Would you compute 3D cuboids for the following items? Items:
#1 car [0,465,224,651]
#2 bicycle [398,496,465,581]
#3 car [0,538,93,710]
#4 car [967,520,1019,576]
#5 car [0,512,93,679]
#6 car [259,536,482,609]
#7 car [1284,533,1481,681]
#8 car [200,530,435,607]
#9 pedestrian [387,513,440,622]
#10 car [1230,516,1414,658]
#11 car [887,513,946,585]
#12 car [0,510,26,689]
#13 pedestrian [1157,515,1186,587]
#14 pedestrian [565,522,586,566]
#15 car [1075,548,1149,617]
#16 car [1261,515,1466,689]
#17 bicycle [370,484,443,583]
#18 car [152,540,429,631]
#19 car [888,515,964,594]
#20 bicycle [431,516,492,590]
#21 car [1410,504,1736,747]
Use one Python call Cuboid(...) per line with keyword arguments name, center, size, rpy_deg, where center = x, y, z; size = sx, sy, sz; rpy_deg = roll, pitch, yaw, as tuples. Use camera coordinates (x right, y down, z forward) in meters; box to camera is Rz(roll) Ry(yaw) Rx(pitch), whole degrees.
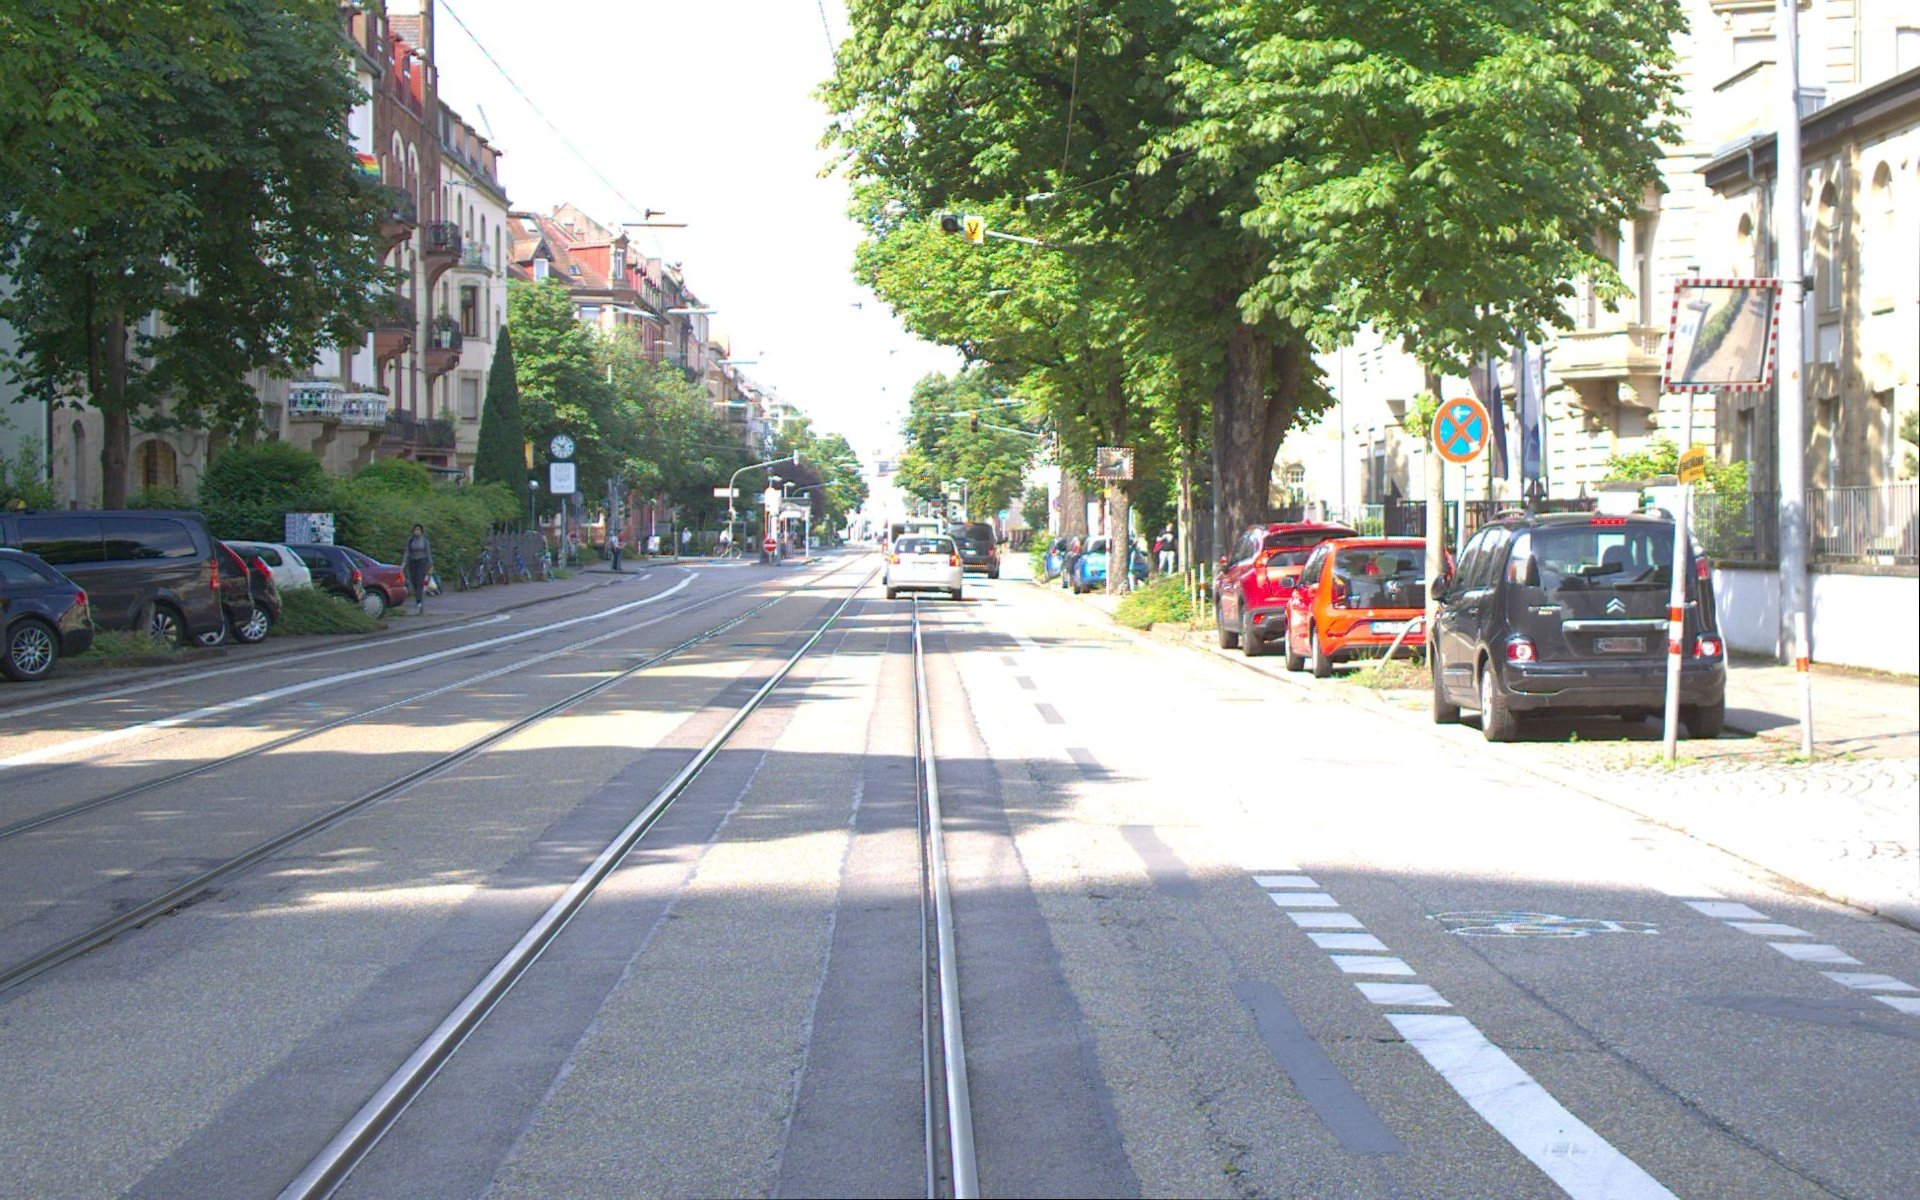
Cuboid(name="car", center=(-11.309, -0.556, 41.717), size=(1.882, 2.074, 4.193), rpy_deg=(5, 0, 44))
Cuboid(name="bicycle", center=(-12.152, -1.403, 79.124), size=(0.938, 1.912, 2.498), rpy_deg=(1, 1, 5))
Cuboid(name="car", center=(-9.554, 0.203, 29.736), size=(1.761, 1.496, 3.628), rpy_deg=(0, 0, 41))
Cuboid(name="car", center=(1.094, -1.754, 115.648), size=(1.621, 1.842, 3.565), rpy_deg=(1, 1, -1))
Cuboid(name="car", center=(-11.043, -0.072, 35.195), size=(1.882, 1.706, 3.749), rpy_deg=(2, 1, 44))
Cuboid(name="car", center=(-11.026, -0.512, 64.375), size=(3.775, 1.302, 1.638), rpy_deg=(1, 1, -39))
Cuboid(name="car", center=(4.495, 0.050, 36.971), size=(1.667, 1.481, 3.279), rpy_deg=(-1, 1, 0))
Cuboid(name="car", center=(-11.447, -0.561, 61.347), size=(3.775, 1.302, 1.638), rpy_deg=(1, 1, -39))
Cuboid(name="pedestrian", center=(-10.322, -0.611, 64.979), size=(0.733, 2.007, 0.824), rpy_deg=(-3, 0, 3))
Cuboid(name="car", center=(4.591, -0.182, 44.122), size=(1.960, 1.700, 4.000), rpy_deg=(1, 1, 1))
Cuboid(name="car", center=(-1.247, -1.452, 98.035), size=(1.621, 1.993, 3.565), rpy_deg=(1, 1, -1))
Cuboid(name="car", center=(-10.920, -0.029, 32.182), size=(1.882, 1.706, 3.749), rpy_deg=(2, 1, 44))
Cuboid(name="pedestrian", center=(6.002, -1.386, 97.510), size=(0.760, 2.007, 0.764), rpy_deg=(1, 1, 1))
Cuboid(name="pedestrian", center=(-17.760, -2.595, 158.750), size=(0.884, 2.007, 0.788), rpy_deg=(1, 1, -9))
Cuboid(name="car", center=(3.808, -0.448, 86.495), size=(1.621, 1.678, 3.565), rpy_deg=(1, 1, -1))
Cuboid(name="car", center=(4.278, -0.025, 36.867), size=(1.674, 1.606, 3.585), rpy_deg=(-2, 3, -1))
Cuboid(name="bicycle", center=(-11.871, -1.410, 73.822), size=(0.938, 2.071, 2.498), rpy_deg=(1, 1, 5))
Cuboid(name="car", center=(-10.117, -0.214, 52.059), size=(3.775, 1.302, 1.638), rpy_deg=(1, 1, -39))
Cuboid(name="car", center=(-0.757, -1.016, 76.448), size=(1.621, 1.678, 3.565), rpy_deg=(1, 1, -1))
Cuboid(name="bicycle", center=(-12.070, -1.134, 83.372), size=(0.938, 1.740, 2.284), rpy_deg=(1, 1, 5))
Cuboid(name="car", center=(4.448, 0.125, 25.421), size=(1.674, 1.606, 3.585), rpy_deg=(-2, 2, -1))
